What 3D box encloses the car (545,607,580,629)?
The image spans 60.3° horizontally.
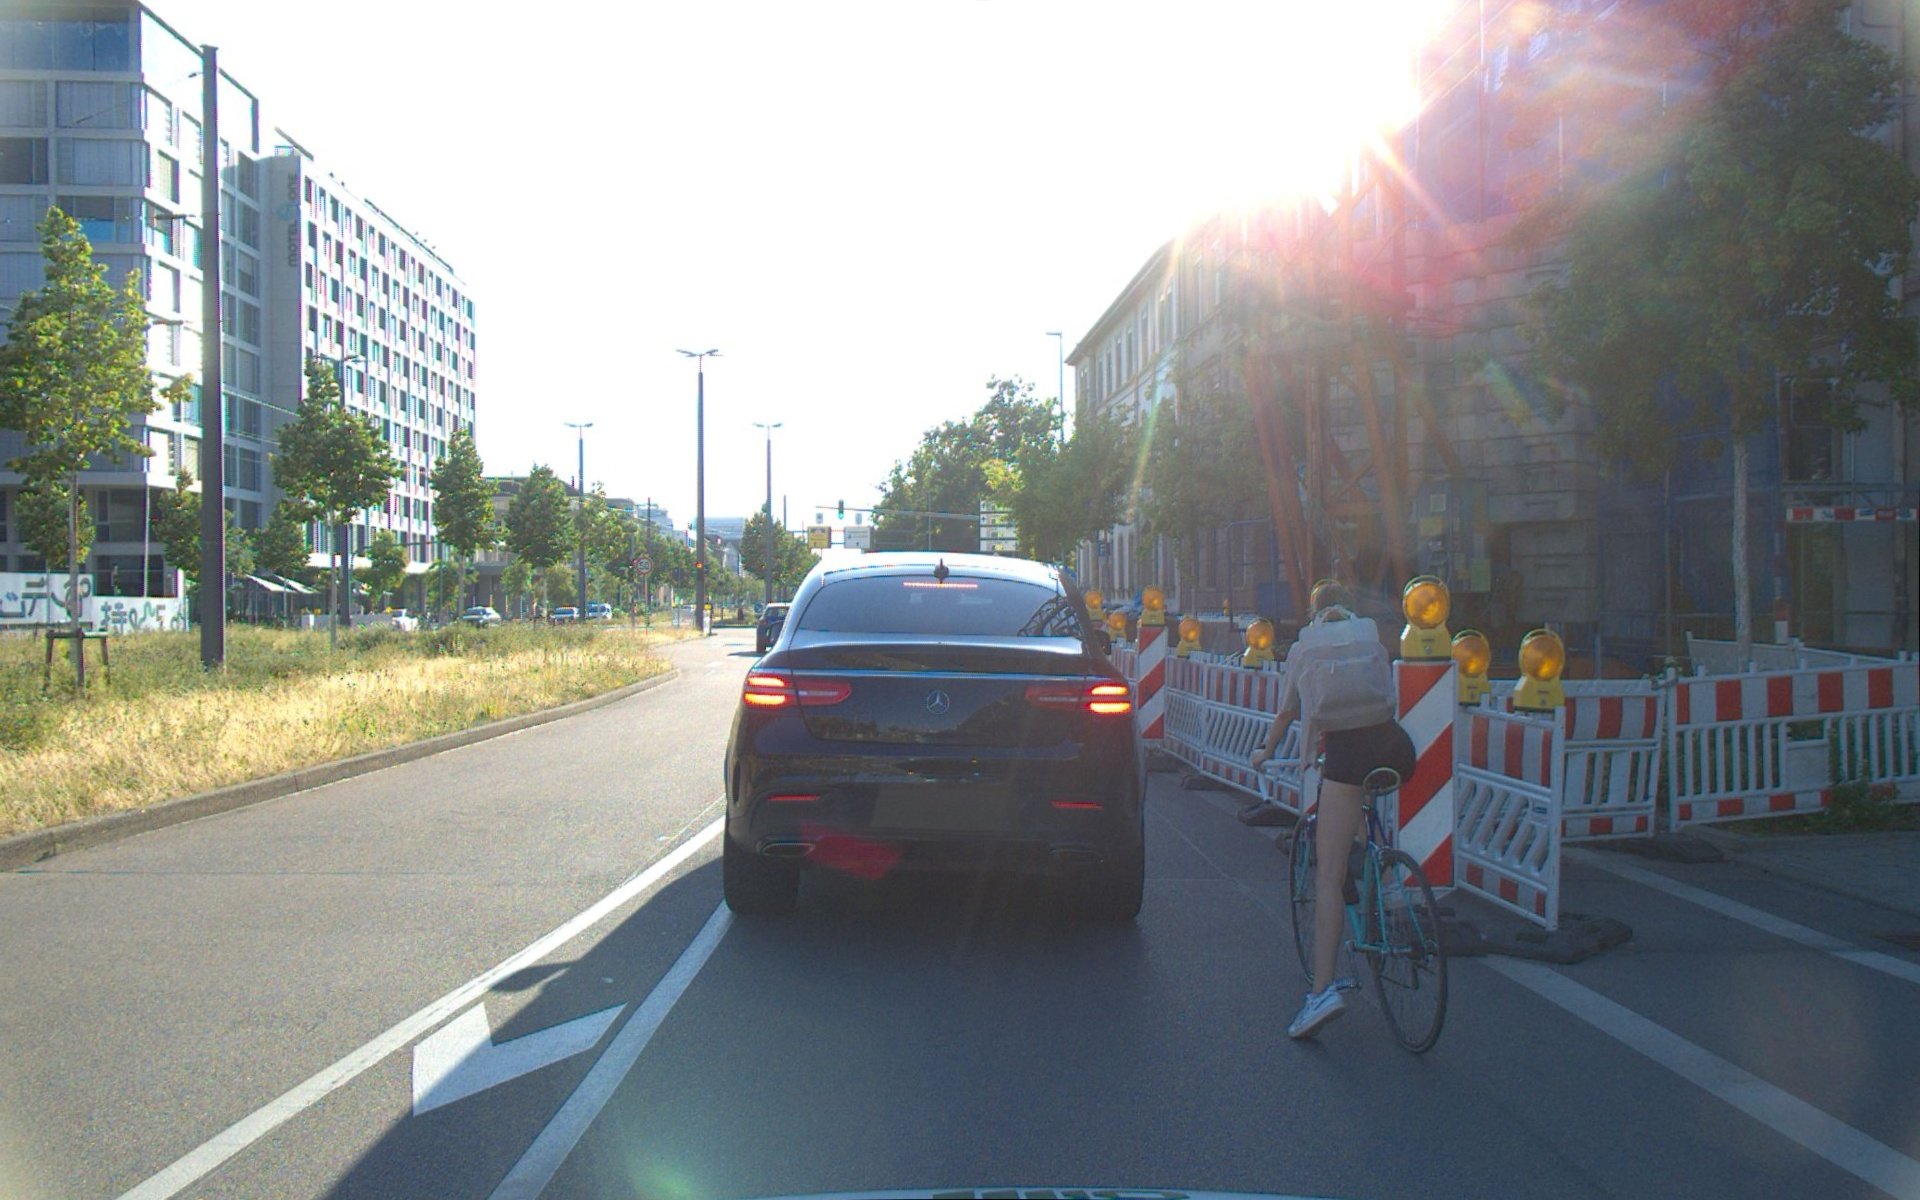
[{"bbox_3d":[-27.464,1.231,114.438,1.674,1.467,3.580,1,0,-3],"label":"car"}]

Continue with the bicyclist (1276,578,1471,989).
[{"bbox_3d":[1.496,0.639,6.052,0.512,1.420,0.614,1,-1,-4],"label":"bicyclist"}]

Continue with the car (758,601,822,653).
[{"bbox_3d":[-5.048,0.783,49.444,1.674,1.467,3.580,1,0,-3],"label":"car"}]

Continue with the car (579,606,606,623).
[{"bbox_3d":[-32.225,1.276,145.067,1.674,1.467,3.580,1,0,-3],"label":"car"}]

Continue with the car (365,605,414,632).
[{"bbox_3d":[-32.612,1.056,94.636,1.674,1.467,3.580,1,0,-3],"label":"car"}]

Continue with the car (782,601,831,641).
[{"bbox_3d":[-5.801,0.780,62.646,1.674,1.467,3.580,1,0,-3],"label":"car"}]

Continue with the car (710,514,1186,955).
[{"bbox_3d":[-0.073,0.569,8.881,1.953,1.803,3.999,1,0,-1],"label":"car"}]

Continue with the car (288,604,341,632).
[{"bbox_3d":[-35.993,0.986,92.341,1.674,1.467,3.580,1,0,-3],"label":"car"}]

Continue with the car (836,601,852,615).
[{"bbox_3d":[-12.839,0.918,183.526,1.674,1.467,3.580,1,0,-3],"label":"car"}]

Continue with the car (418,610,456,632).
[{"bbox_3d":[-36.971,1.462,116.994,1.674,1.467,3.580,1,0,-3],"label":"car"}]

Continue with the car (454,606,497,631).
[{"bbox_3d":[-29.674,1.137,101.350,1.674,1.467,3.580,1,0,-3],"label":"car"}]

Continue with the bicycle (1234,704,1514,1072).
[{"bbox_3d":[1.470,0.977,6.151,0.502,1.070,1.724,1,0,-3],"label":"bicycle"}]

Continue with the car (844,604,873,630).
[{"bbox_3d":[-5.971,0.969,97.626,1.674,1.467,3.580,1,0,-3],"label":"car"}]
